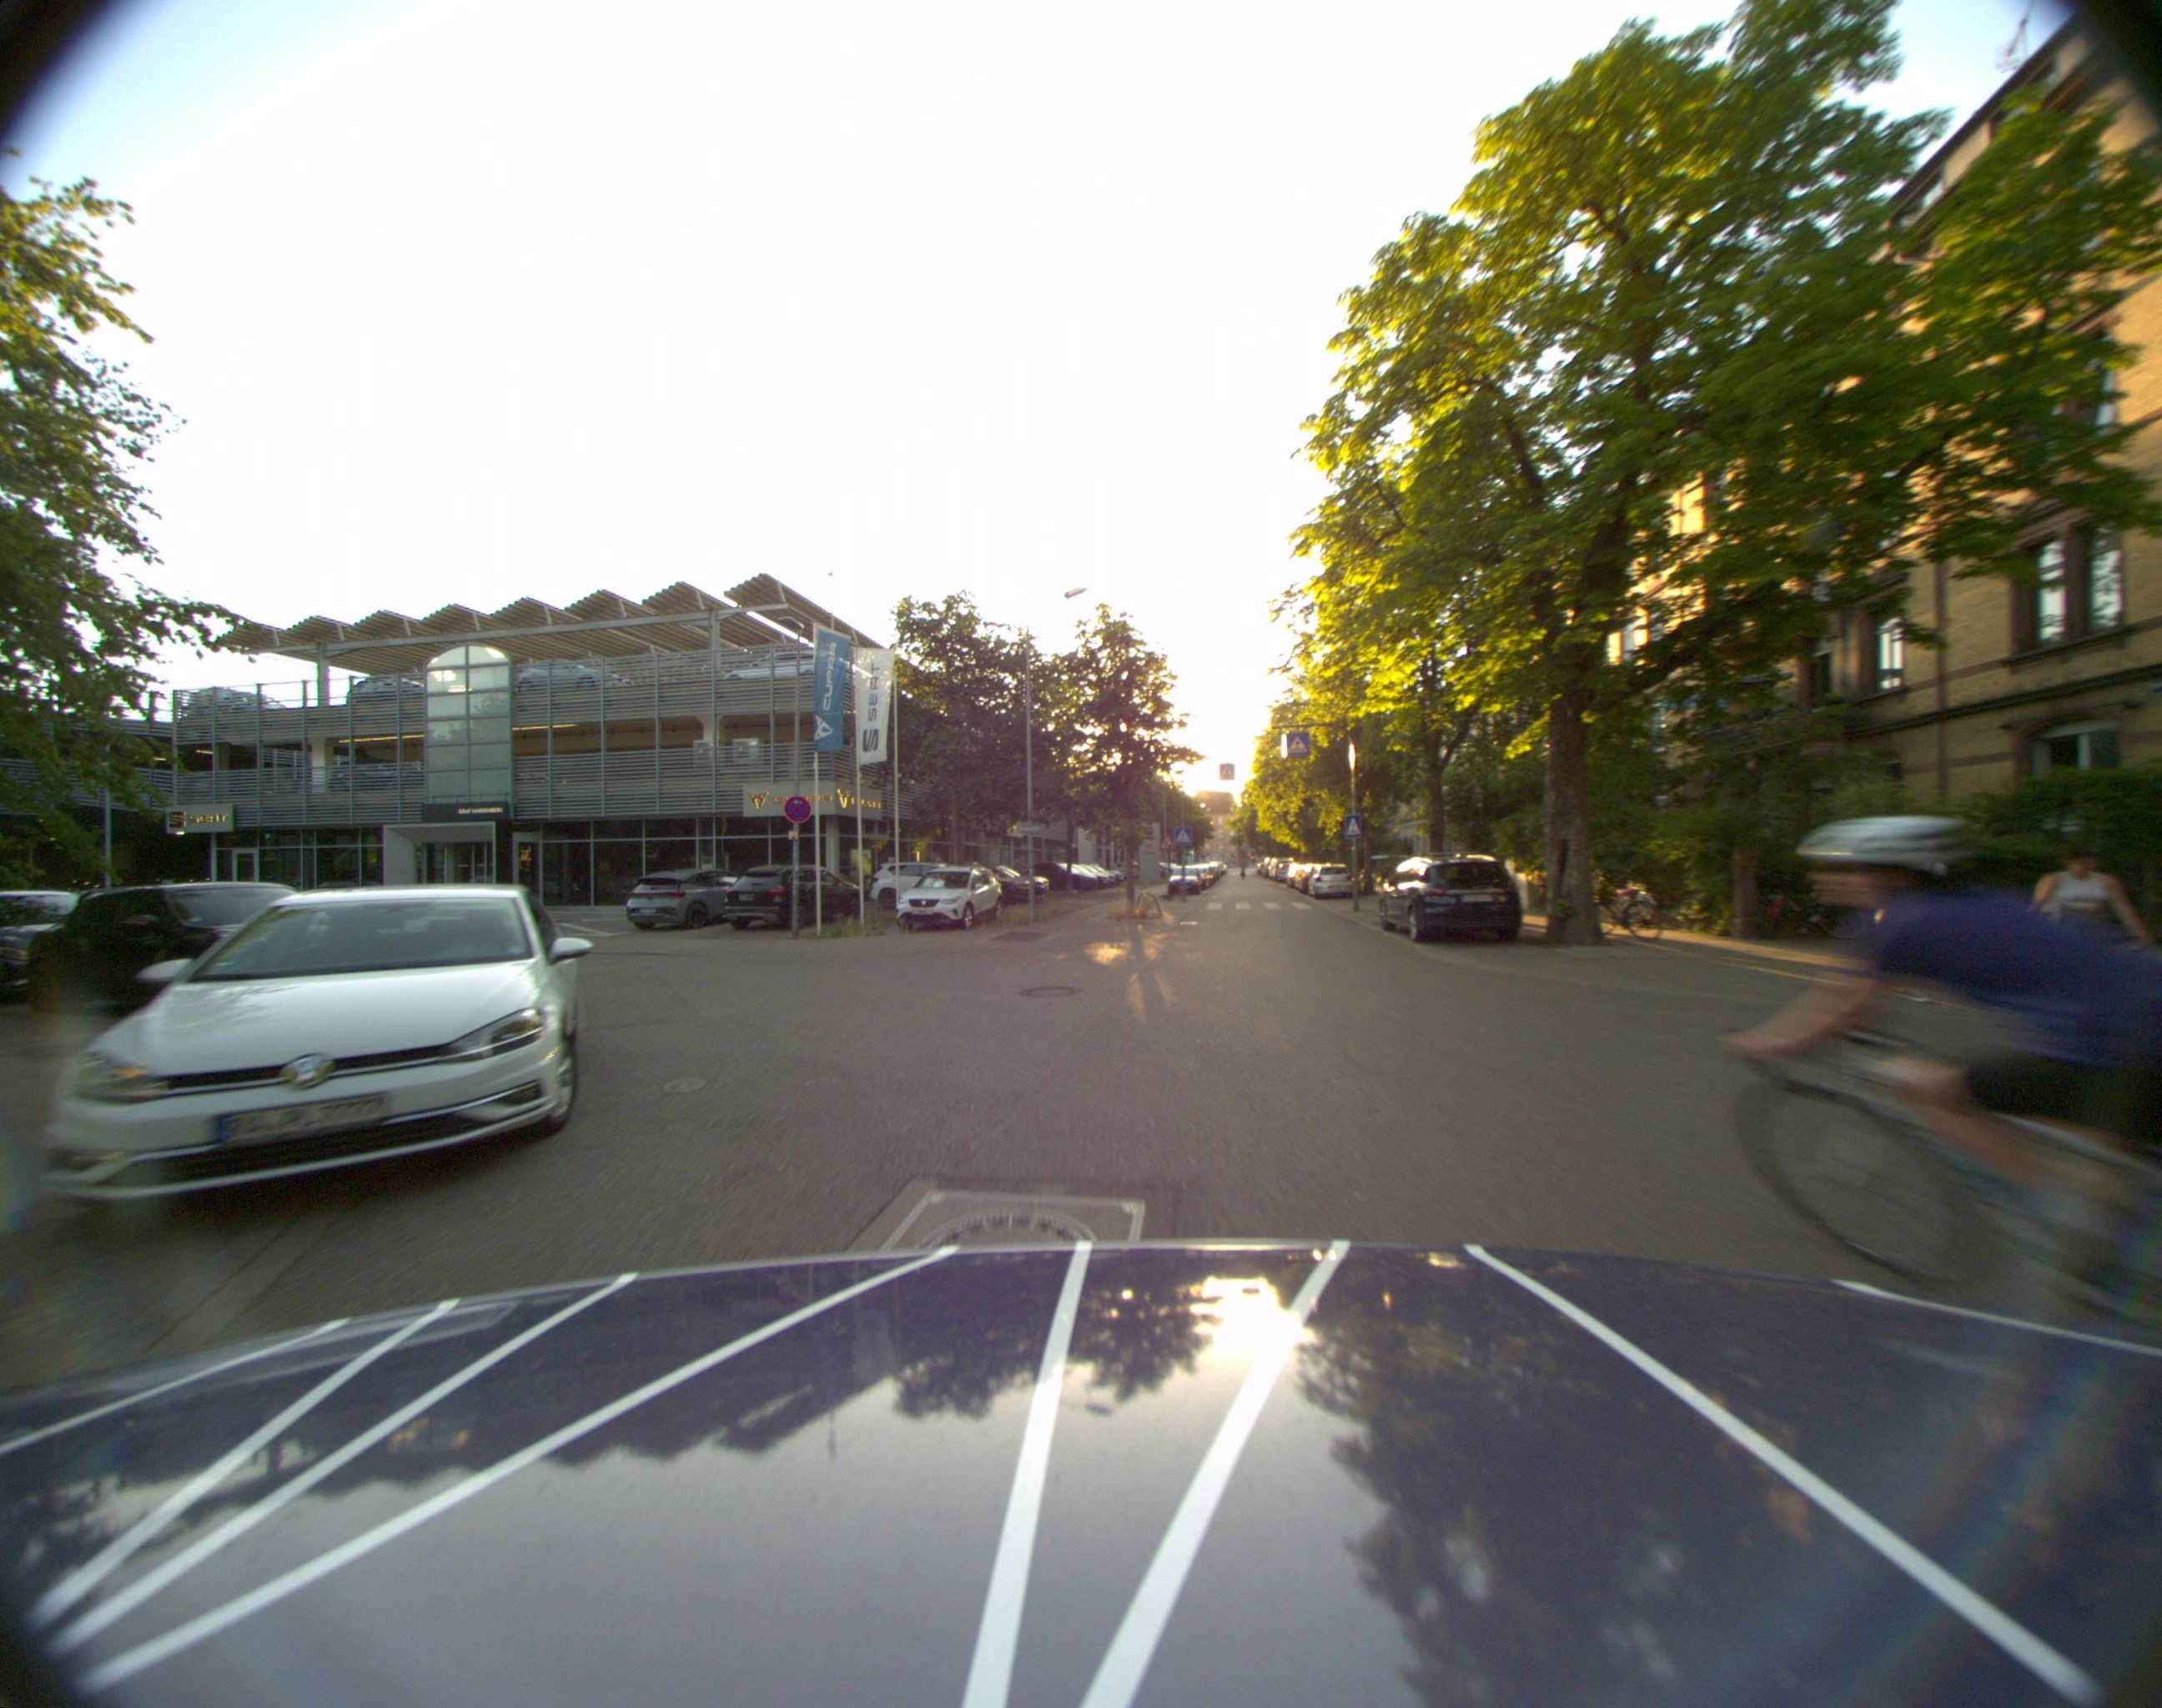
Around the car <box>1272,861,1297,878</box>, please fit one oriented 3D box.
[{"bbox_3d":[17.612,1.342,65.936,1.615,1.433,4.108,-2,-1,9],"label":"car"}]

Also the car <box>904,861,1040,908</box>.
[{"bbox_3d":[-3.989,1.126,28.099,4.584,1.606,1.874,-2,-1,10],"label":"car"}]

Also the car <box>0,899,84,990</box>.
[{"bbox_3d":[-19.073,1.502,12.629,3.680,1.426,1.635,-1,-1,13],"label":"car"}]

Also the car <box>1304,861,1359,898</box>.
[{"bbox_3d":[10.983,1.088,33.564,1.616,1.433,3.757,-3,-1,8],"label":"car"}]

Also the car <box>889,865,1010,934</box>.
[{"bbox_3d":[-3.225,1.087,19.473,1.766,1.562,3.906,-1,-1,11],"label":"car"}]

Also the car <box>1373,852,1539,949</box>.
[{"bbox_3d":[7.519,0.873,15.765,1.869,1.677,4.596,-2,-1,11],"label":"car"}]

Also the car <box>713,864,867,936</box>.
[{"bbox_3d":[-7.527,1.143,20.138,1.715,1.596,4.131,-1,0,14],"label":"car"}]

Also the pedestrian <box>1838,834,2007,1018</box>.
[{"bbox_3d":[8.919,0.717,8.092,0.688,1.824,1.008,0,0,-15],"label":"pedestrian"}]

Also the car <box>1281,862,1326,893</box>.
[{"bbox_3d":[11.194,1.155,38.453,1.615,1.433,4.314,-2,-1,9],"label":"car"}]

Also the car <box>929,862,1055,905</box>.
[{"bbox_3d":[-3.499,1.157,30.189,4.584,1.562,1.874,-2,-1,10],"label":"car"}]

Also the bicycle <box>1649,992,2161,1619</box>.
[{"bbox_3d":[2.491,1.065,1.976,0.538,1.028,1.905,-1,1,-2],"label":"bicycle"}]

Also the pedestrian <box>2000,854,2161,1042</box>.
[{"bbox_3d":[9.549,0.813,7.091,0.688,1.621,1.052,0,0,-15],"label":"pedestrian"}]

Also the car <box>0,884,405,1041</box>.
[{"bbox_3d":[-10.469,1.174,9.071,3.935,1.536,1.635,-1,0,15],"label":"car"}]

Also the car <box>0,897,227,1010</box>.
[{"bbox_3d":[-15.044,1.377,11.205,3.778,1.426,1.635,-1,-1,13],"label":"car"}]

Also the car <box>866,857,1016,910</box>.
[{"bbox_3d":[-4.663,0.992,25.614,4.584,1.633,1.874,-1,-1,10],"label":"car"}]

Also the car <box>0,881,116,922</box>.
[{"bbox_3d":[-42.447,1.905,30.715,1.630,1.558,3.933,-1,-2,16],"label":"car"}]

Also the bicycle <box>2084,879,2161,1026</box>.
[{"bbox_3d":[11.113,0.943,7.283,1.796,1.384,0.519,-1,1,22],"label":"bicycle"}]

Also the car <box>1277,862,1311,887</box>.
[{"bbox_3d":[13.563,1.281,48.537,1.615,1.433,4.108,-2,-1,9],"label":"car"}]

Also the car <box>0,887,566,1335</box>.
[{"bbox_3d":[-4.488,1.023,4.842,1.815,1.492,4.163,-2,0,-32],"label":"car"}]

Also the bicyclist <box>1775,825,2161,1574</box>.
[{"bbox_3d":[2.491,0.732,2.012,0.510,1.567,0.823,0,-1,-2],"label":"bicyclist"}]

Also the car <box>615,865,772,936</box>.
[{"bbox_3d":[-10.438,1.204,20.802,1.703,1.582,3.697,-1,2,16],"label":"car"}]

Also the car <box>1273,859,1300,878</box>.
[{"bbox_3d":[16.576,1.155,61.417,1.615,1.433,4.108,-2,-1,9],"label":"car"}]

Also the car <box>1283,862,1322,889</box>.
[{"bbox_3d":[12.704,1.211,43.786,1.615,1.433,4.314,-2,-1,9],"label":"car"}]
